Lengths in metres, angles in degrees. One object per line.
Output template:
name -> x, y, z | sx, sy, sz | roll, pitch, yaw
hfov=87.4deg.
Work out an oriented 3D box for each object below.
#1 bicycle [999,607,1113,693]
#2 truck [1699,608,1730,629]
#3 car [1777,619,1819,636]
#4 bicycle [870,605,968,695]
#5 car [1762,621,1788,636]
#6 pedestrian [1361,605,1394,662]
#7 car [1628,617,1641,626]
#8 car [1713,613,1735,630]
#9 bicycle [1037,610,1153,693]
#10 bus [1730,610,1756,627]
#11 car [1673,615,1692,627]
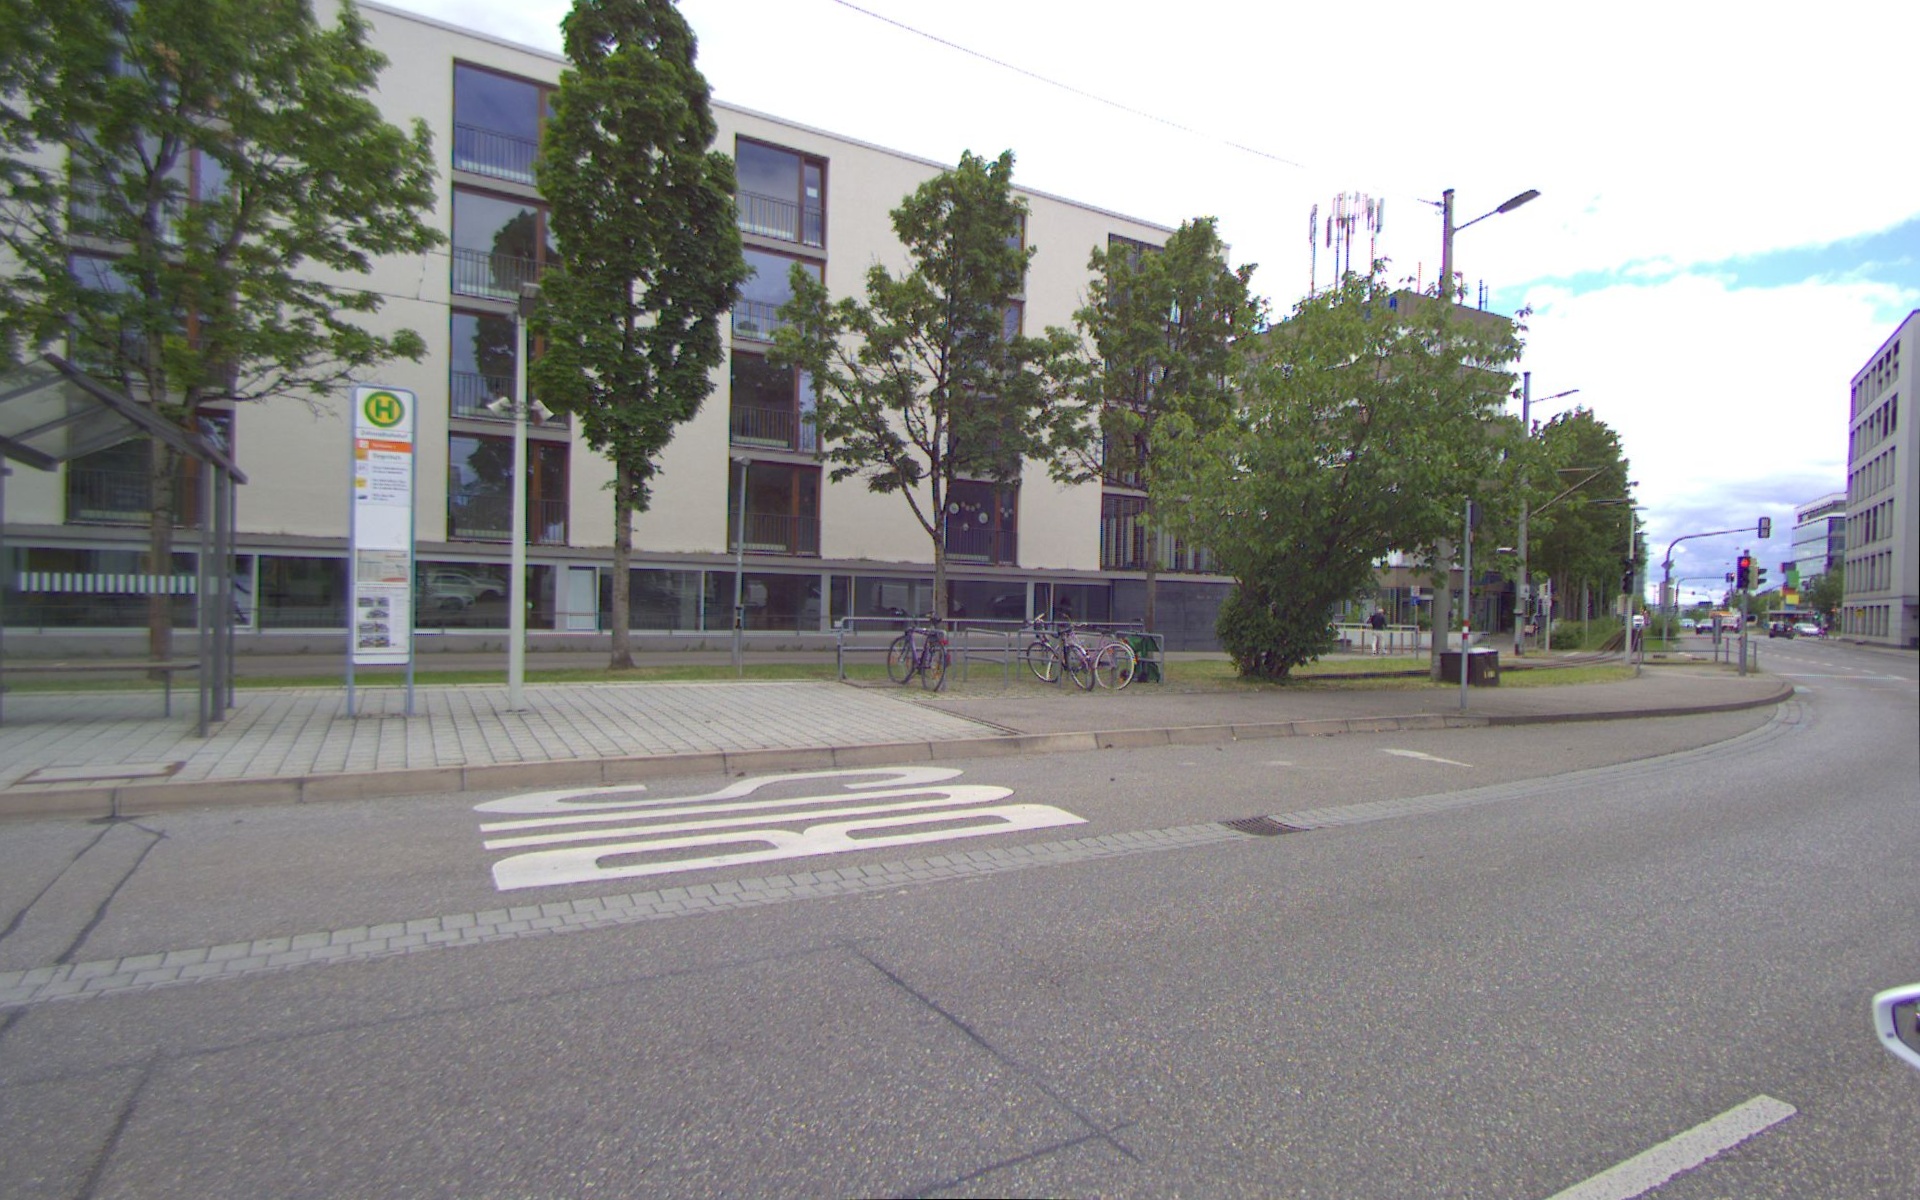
bicycle -> 1.401, 0.715, 15.162 | 0.624, 1.121, 2.089 | 1, 1, -29
truck -> 110.440, 2.679, 147.110 | 2.535, 2.863, 6.978 | 1, 0, 29
car -> 95.969, 3.093, 115.107 | 1.820, 1.783, 4.002 | 1, 0, 9
bicycle -> -0.619, 0.670, 14.269 | 0.580, 1.121, 1.920 | 1, 1, -29
car -> 81.842, 2.848, 100.878 | 1.878, 1.506, 3.979 | 1, 0, 42
pedestrian -> 15.508, 1.249, 37.337 | 0.758, 2.041, 0.886 | 5, 3, 41
car -> 142.993, 4.596, 213.006 | 1.886, 1.748, 4.163 | 3, 2, 28
car -> 89.085, 2.504, 117.102 | 1.829, 1.948, 3.982 | 1, 0, 39
bicycle -> 2.037, 0.755, 15.489 | 0.624, 1.121, 2.090 | 1, 1, -28
bus -> 148.654, 3.458, 190.725 | 3.041, 2.968, 10.310 | 3, 2, 34
car -> 117.420, 3.433, 163.188 | 1.886, 1.748, 4.163 | 3, 2, 28
